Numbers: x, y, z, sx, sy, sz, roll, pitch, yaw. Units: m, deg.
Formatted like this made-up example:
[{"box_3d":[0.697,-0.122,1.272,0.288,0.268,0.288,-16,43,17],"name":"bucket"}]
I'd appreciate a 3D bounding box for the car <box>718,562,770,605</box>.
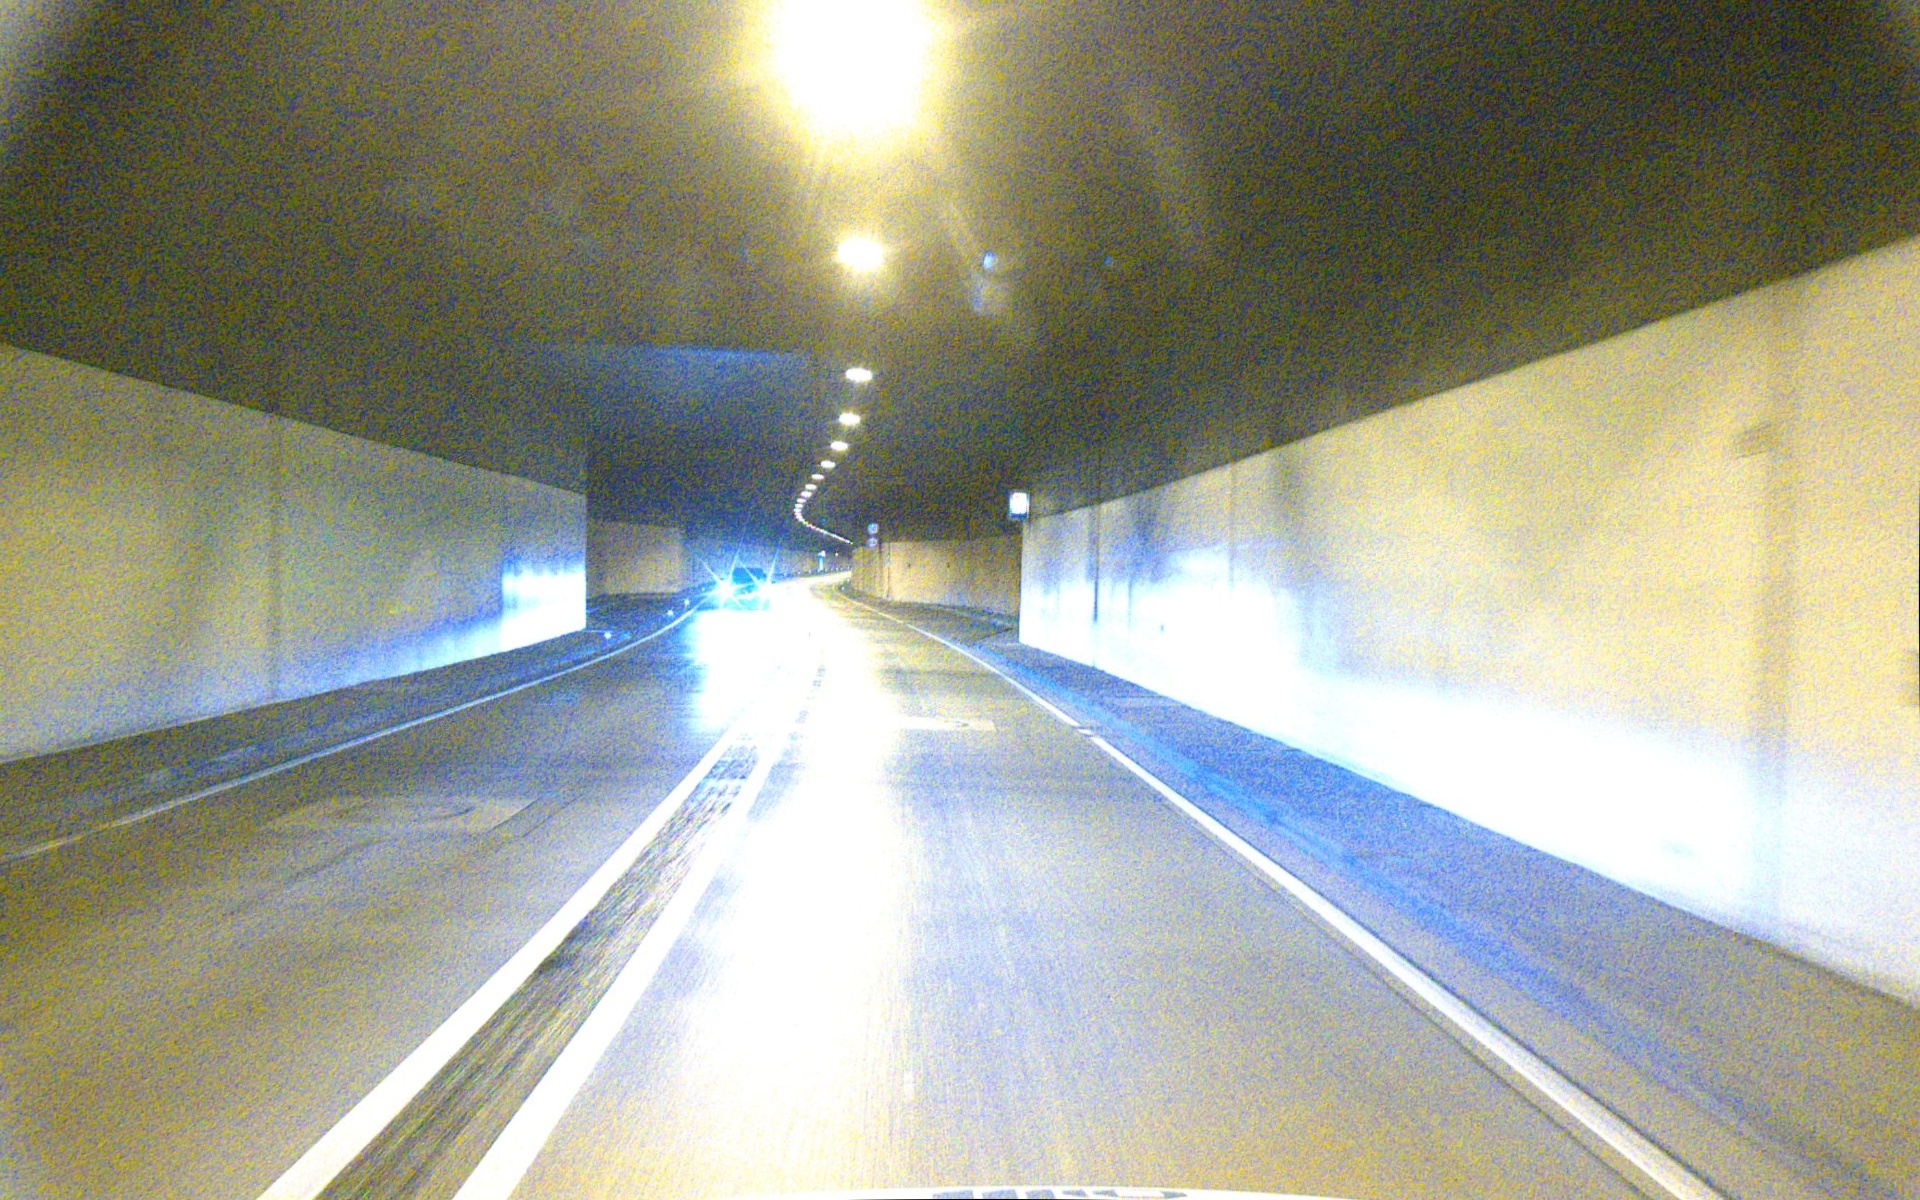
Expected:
[{"box_3d":[-7.697,-0.617,59.282,1.674,1.440,4.113,0,2,-5],"name":"car"}]
